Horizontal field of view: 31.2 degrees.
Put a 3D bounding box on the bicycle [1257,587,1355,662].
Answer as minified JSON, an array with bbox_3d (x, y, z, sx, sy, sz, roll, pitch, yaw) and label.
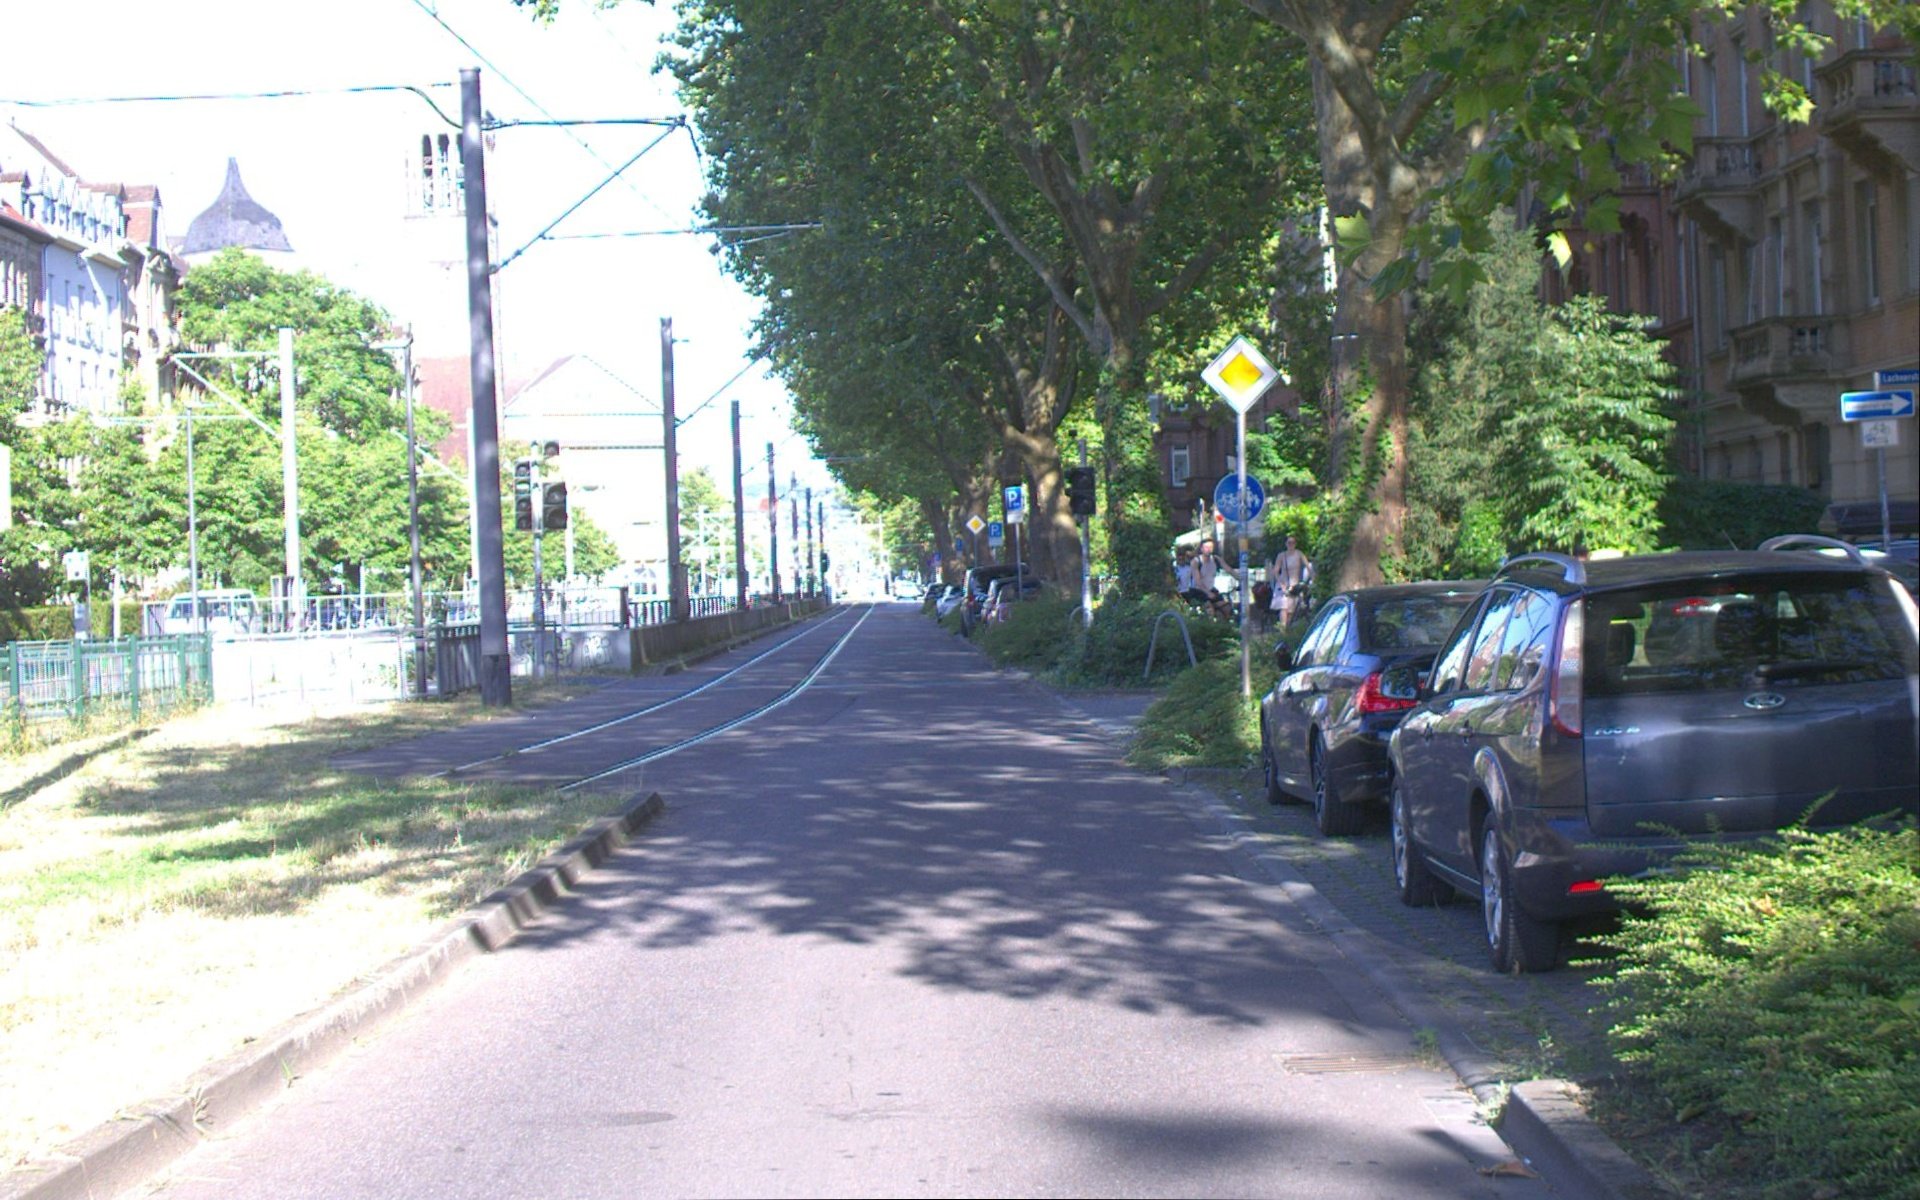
[{"bbox_3d":[5.101,0.342,50.789,0.813,0.954,2.318,-3,3,-10],"label":"bicycle"}]

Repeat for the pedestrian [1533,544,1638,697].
[{"bbox_3d":[7.240,0.221,39.836,0.813,1.683,1.081,-3,3,-10],"label":"pedestrian"}]

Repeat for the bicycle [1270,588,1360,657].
[{"bbox_3d":[5.695,0.350,55.238,0.813,0.954,2.318,-3,3,-10],"label":"bicycle"}]

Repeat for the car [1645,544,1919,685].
[{"bbox_3d":[9.817,0.122,37.767,3.986,1.415,2.001,-2,0,-16],"label":"car"}]

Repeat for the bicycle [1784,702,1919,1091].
[{"bbox_3d":[3.260,0.817,10.316,1.596,1.038,0.509,-4,3,-30],"label":"bicycle"}]

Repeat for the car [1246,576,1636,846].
[{"bbox_3d":[2.736,0.578,20.388,1.643,1.368,4.183,-2,0,0],"label":"car"}]

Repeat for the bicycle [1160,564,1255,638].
[{"bbox_3d":[3.615,-0.001,50.394,0.813,0.954,2.318,-3,3,-10],"label":"bicycle"}]

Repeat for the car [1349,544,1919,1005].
[{"bbox_3d":[2.661,0.574,13.774,1.643,1.506,4.183,-2,0,0],"label":"car"}]

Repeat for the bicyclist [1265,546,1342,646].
[{"bbox_3d":[5.076,-0.062,50.844,0.813,1.400,1.081,-3,3,-10],"label":"bicyclist"}]

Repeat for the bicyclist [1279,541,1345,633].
[{"bbox_3d":[5.651,-0.214,55.163,0.813,1.400,0.825,-3,3,-10],"label":"bicyclist"}]

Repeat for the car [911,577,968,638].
[{"bbox_3d":[-0.738,0.291,123.336,1.993,2.100,4.000,0,-1,0],"label":"car"}]

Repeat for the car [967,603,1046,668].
[{"bbox_3d":[1.089,0.852,81.863,1.794,1.505,4.000,0,-1,0],"label":"car"}]

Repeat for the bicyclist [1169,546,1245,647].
[{"bbox_3d":[3.617,-0.060,50.384,0.813,1.400,1.081,-3,3,-10],"label":"bicyclist"}]

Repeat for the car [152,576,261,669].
[{"bbox_3d":[-18.730,0.527,85.598,1.993,2.006,4.001,-3,3,-4],"label":"car"}]

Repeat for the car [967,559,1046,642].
[{"bbox_3d":[1.200,0.034,90.815,1.993,2.100,4.000,0,-1,0],"label":"car"}]
